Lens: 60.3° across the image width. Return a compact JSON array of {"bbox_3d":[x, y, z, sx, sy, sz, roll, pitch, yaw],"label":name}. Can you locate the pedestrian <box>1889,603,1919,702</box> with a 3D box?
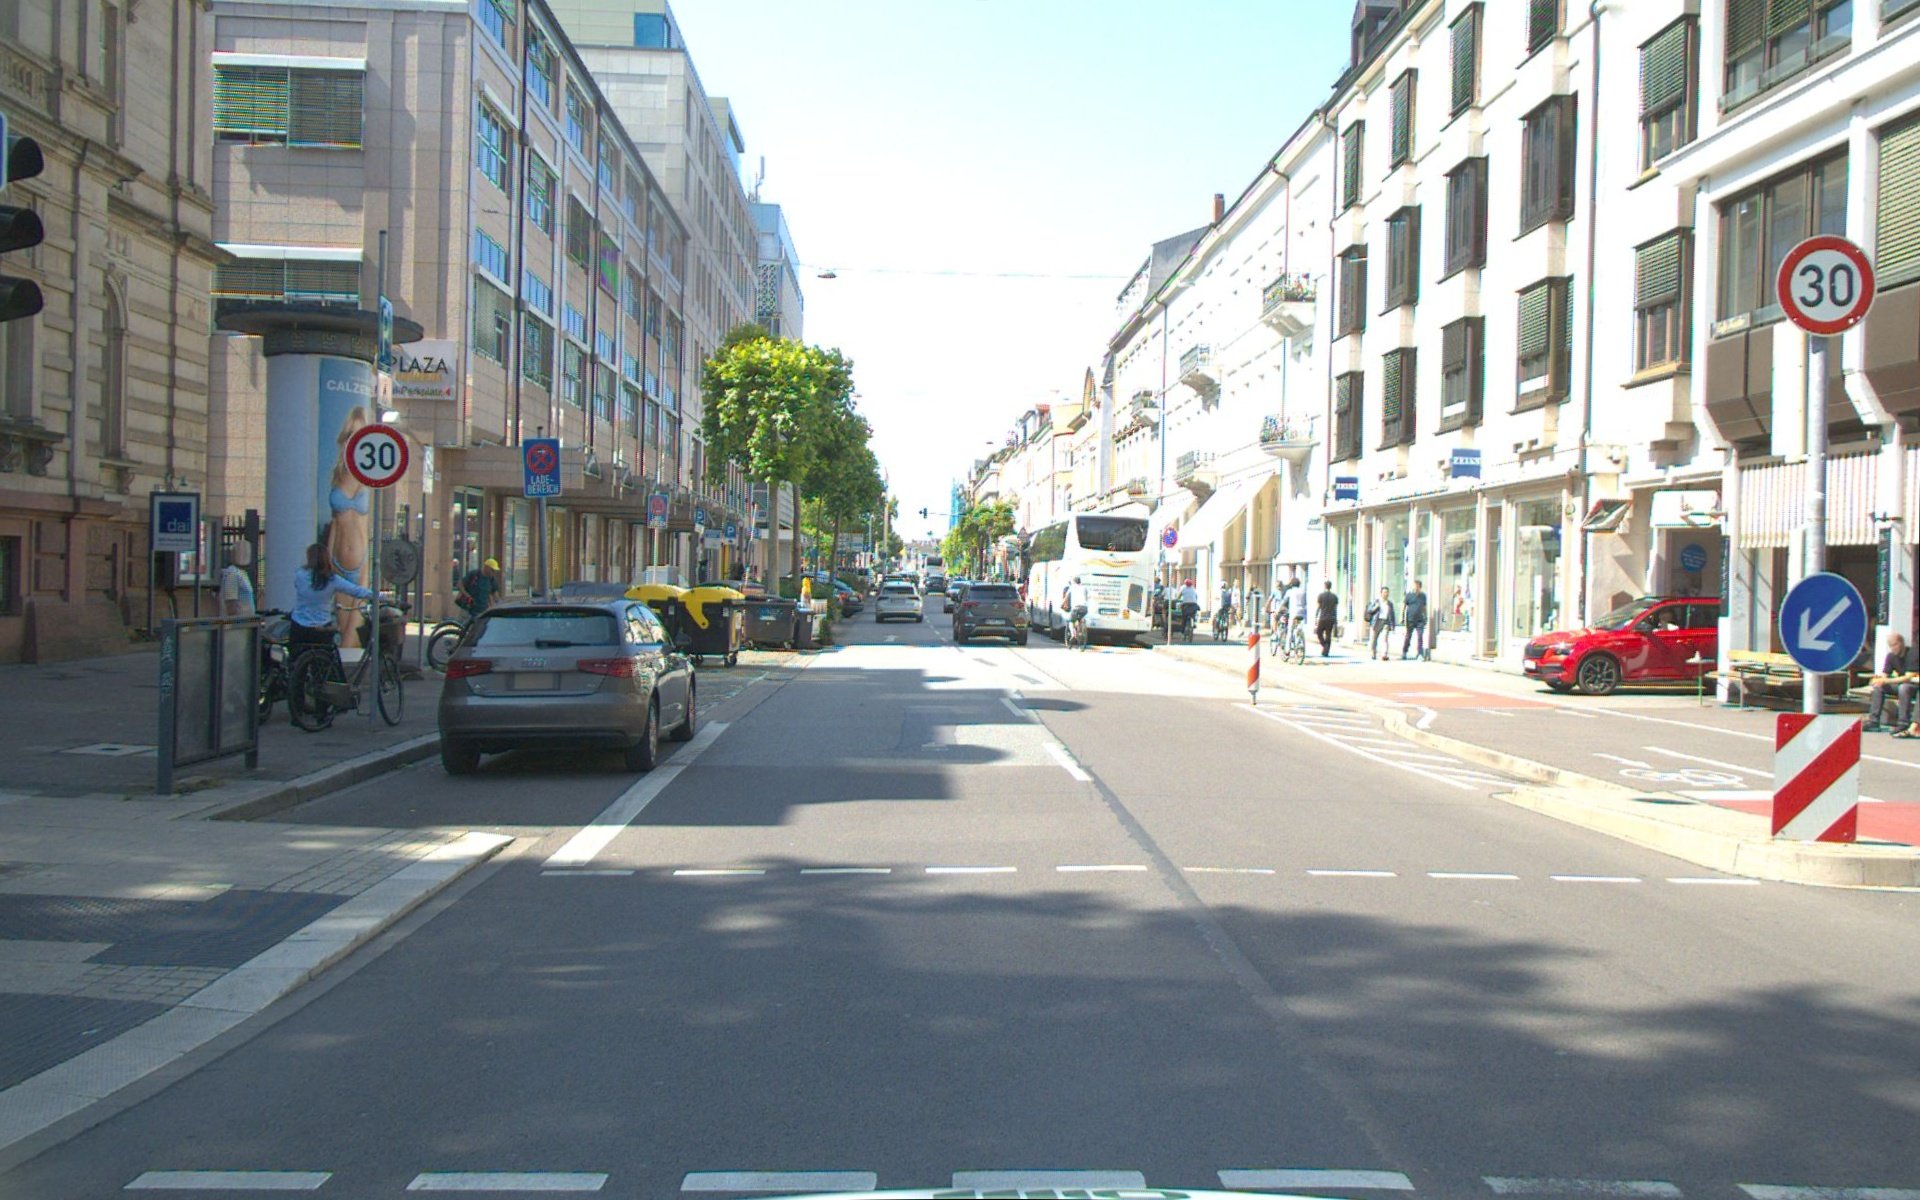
[{"bbox_3d":[13.773,0.742,23.595,0.745,1.391,0.478,1,0,-3],"label":"pedestrian"}]

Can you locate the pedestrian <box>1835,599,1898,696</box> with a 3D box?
[{"bbox_3d":[13.297,0.692,24.271,0.524,1.391,0.689,1,0,-2],"label":"pedestrian"}]

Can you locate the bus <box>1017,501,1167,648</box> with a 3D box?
[{"bbox_3d":[3.783,-0.769,50.870,2.824,3.807,12.419,3,1,-3],"label":"bus"}]

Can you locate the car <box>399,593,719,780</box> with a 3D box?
[{"bbox_3d":[-3.421,0.664,14.957,1.897,1.378,4.249,1,1,-1],"label":"car"}]

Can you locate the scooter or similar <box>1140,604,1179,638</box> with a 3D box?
[{"bbox_3d":[6.842,0.707,56.758,1.099,1.121,1.085,1,0,-4],"label":"scooter or similar"}]

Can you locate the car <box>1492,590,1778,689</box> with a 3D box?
[{"bbox_3d":[11.018,0.658,27.202,3.962,1.521,1.841,1,-2,-1],"label":"car"}]

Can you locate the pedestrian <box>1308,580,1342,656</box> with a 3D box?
[{"bbox_3d":[8.589,0.421,38.929,0.607,1.750,0.835,1,-1,0],"label":"pedestrian"}]

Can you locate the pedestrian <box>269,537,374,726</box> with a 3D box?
[{"bbox_3d":[-5.990,0.295,15.549,0.680,1.725,0.691,1,-1,0],"label":"pedestrian"}]

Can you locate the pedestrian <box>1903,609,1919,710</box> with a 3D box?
[{"bbox_3d":[13.785,0.837,23.131,0.859,1.391,0.537,1,0,-3],"label":"pedestrian"}]

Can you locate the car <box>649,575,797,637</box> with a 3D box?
[{"bbox_3d":[-6.682,0.136,46.422,3.982,1.520,1.926,3,2,39],"label":"car"}]

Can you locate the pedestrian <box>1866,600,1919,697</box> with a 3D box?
[{"bbox_3d":[13.757,0.705,24.133,0.729,1.391,0.584,1,0,-3],"label":"pedestrian"}]

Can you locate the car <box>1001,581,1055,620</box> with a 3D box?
[{"bbox_3d":[2.928,-0.007,72.231,1.777,1.491,4.577,3,2,-5],"label":"car"}]

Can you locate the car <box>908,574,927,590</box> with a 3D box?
[{"bbox_3d":[-4.209,-1.789,163.039,1.826,1.466,3.997,0,-1,-3],"label":"car"}]

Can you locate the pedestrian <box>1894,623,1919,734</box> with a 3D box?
[{"bbox_3d":[11.132,0.887,18.786,0.696,1.238,0.697,1,-1,6],"label":"pedestrian"}]

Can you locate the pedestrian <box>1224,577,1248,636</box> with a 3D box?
[{"bbox_3d":[8.573,0.210,51.382,0.561,1.809,1.020,1,-1,1],"label":"pedestrian"}]

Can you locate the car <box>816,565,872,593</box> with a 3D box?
[{"bbox_3d":[-10.087,-1.862,143.809,4.635,2.038,1.933,5,0,38],"label":"car"}]

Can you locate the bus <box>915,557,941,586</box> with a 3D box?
[{"bbox_3d":[-4.219,-3.786,216.303,2.716,3.668,8.965,1,1,-5],"label":"bus"}]

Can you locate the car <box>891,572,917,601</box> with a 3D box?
[{"bbox_3d":[-4.202,-0.963,123.642,1.826,2.065,3.997,1,-1,-3],"label":"car"}]

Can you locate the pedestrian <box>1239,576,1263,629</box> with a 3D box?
[{"bbox_3d":[9.180,0.092,52.191,0.632,1.645,0.822,1,-1,1],"label":"pedestrian"}]

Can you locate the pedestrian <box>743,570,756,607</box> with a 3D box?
[{"bbox_3d":[-9.592,-0.520,75.325,0.555,1.686,0.635,1,0,-10],"label":"pedestrian"}]

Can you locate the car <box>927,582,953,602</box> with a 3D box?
[{"bbox_3d":[-1.513,-0.606,124.546,1.826,1.466,3.998,1,1,-3],"label":"car"}]

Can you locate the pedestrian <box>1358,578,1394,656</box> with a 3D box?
[{"bbox_3d":[9.399,0.377,37.383,0.679,1.715,0.836,1,0,6],"label":"pedestrian"}]

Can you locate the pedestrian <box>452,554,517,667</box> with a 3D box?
[{"bbox_3d":[-7.576,0.166,26.385,0.872,1.755,0.747,1,0,-9],"label":"pedestrian"}]

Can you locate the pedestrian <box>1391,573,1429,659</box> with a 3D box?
[{"bbox_3d":[10.088,0.356,37.084,0.679,1.883,0.836,1,-1,6],"label":"pedestrian"}]

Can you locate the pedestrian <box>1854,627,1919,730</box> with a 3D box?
[{"bbox_3d":[11.130,0.922,19.643,0.696,1.193,0.697,1,-1,6],"label":"pedestrian"}]

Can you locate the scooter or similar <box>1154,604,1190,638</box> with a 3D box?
[{"bbox_3d":[6.351,0.610,49.629,0.848,0.973,1.212,2,0,-4],"label":"scooter or similar"}]

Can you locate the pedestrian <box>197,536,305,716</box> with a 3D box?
[{"bbox_3d":[-6.882,0.251,16.083,0.537,1.694,0.937,1,-1,6],"label":"pedestrian"}]

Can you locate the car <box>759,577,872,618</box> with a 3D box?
[{"bbox_3d":[-6.050,-0.115,69.014,4.706,1.447,1.874,4,2,38],"label":"car"}]

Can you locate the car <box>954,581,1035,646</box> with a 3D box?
[{"bbox_3d":[0.858,0.317,42.961,1.796,1.554,3.998,2,0,-3],"label":"car"}]

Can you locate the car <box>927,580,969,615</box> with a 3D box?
[{"bbox_3d":[-0.586,-0.093,75.834,1.796,1.554,3.998,0,-1,-3],"label":"car"}]

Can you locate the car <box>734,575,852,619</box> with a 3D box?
[{"bbox_3d":[-6.690,-0.136,66.009,4.671,1.560,1.980,3,1,41],"label":"car"}]

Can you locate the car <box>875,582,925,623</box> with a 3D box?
[{"bbox_3d":[-2.308,0.086,62.528,1.826,1.466,3.998,0,1,-3],"label":"car"}]
